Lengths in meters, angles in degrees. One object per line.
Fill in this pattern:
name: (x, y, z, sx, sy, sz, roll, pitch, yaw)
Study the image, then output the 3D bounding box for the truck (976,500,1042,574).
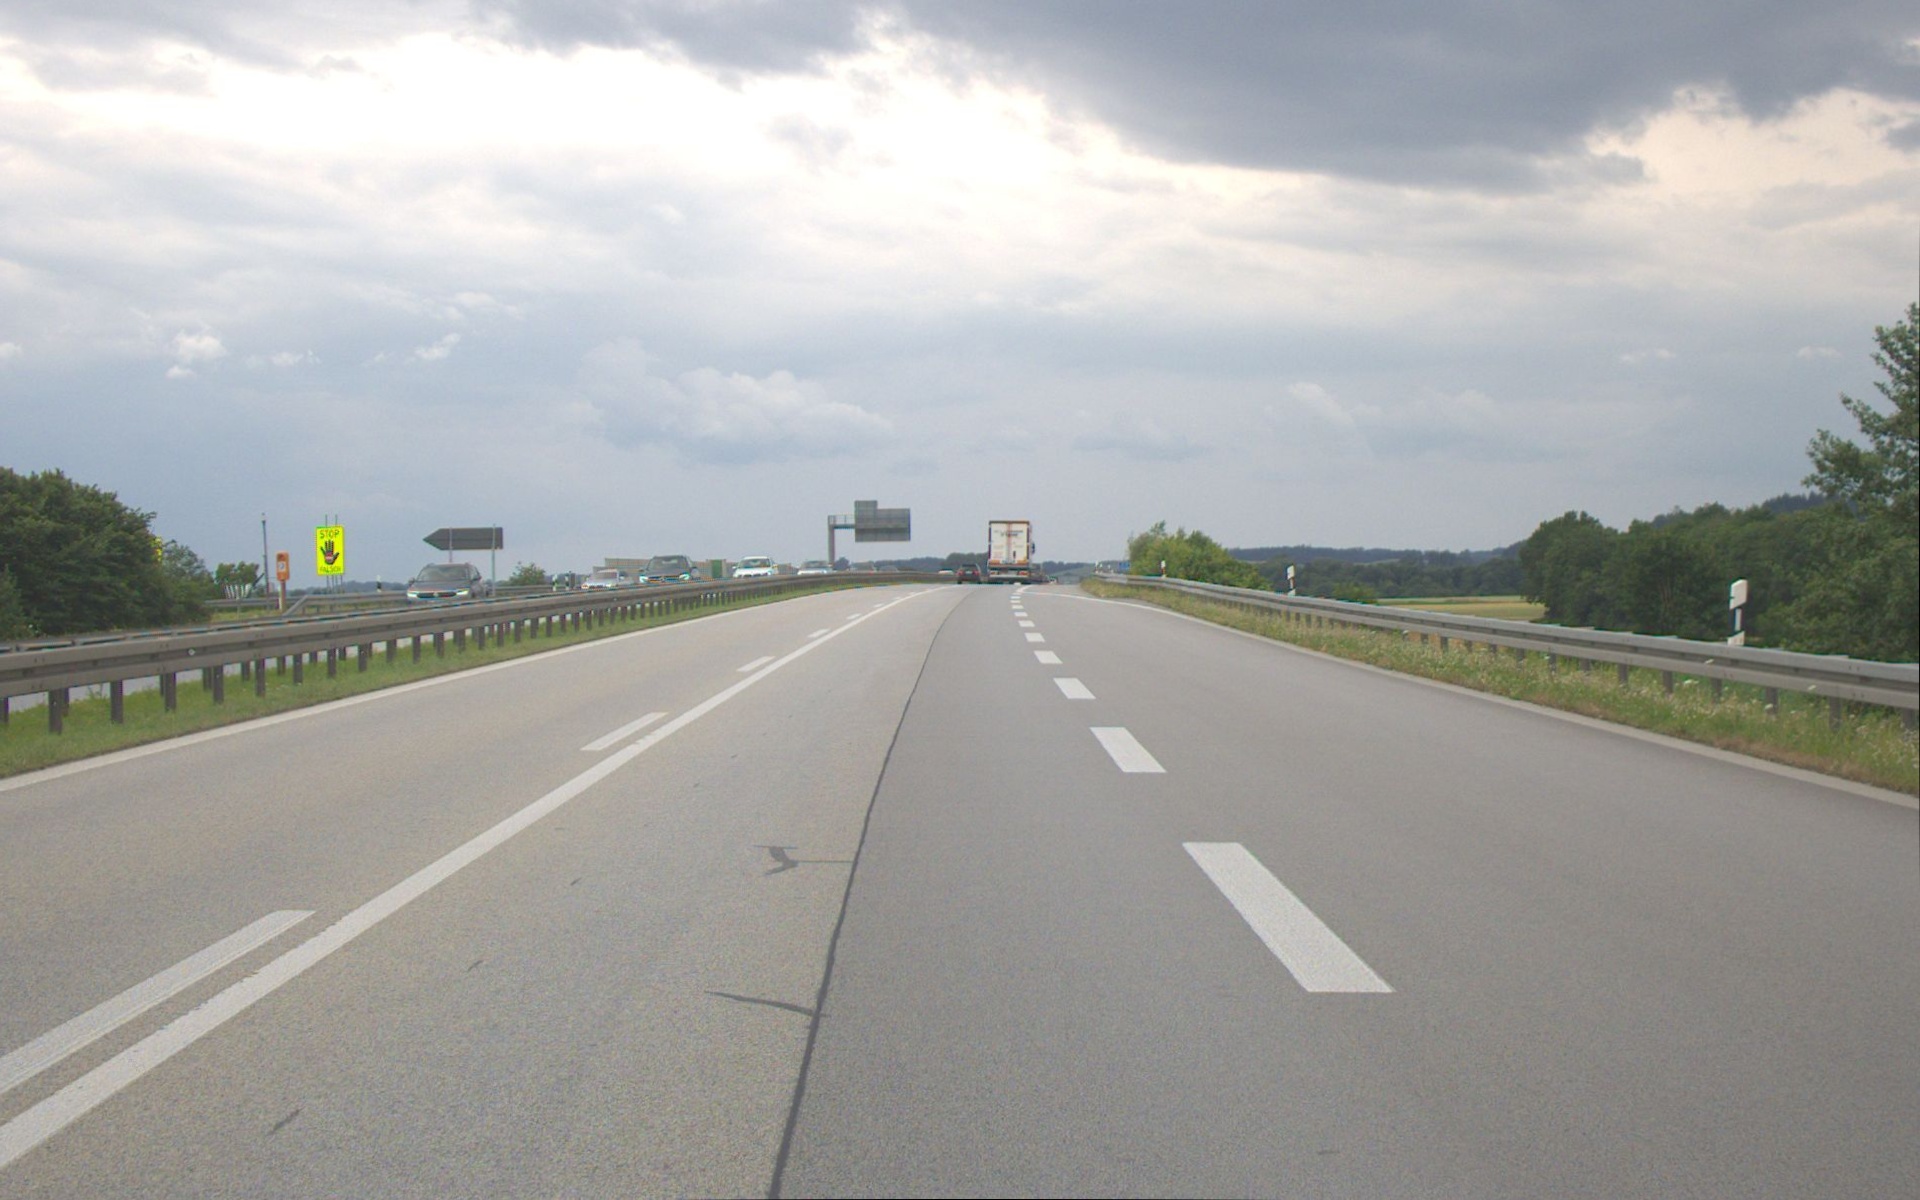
truck: (3.338, -4.079, 227.057, 3.673, 4.397, 16.338, 0, -1, 3)

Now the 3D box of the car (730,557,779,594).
car: (-9.288, -1.117, 155.426, 1.853, 1.582, 4.816, -1, 1, 0)

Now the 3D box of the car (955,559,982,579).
car: (0.645, -2.270, 253.866, 1.993, 1.415, 4.000, 1, 1, 0)

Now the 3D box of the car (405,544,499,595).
car: (-13.951, -0.861, 94.666, 1.825, 1.341, 4.783, -1, 1, 0)
